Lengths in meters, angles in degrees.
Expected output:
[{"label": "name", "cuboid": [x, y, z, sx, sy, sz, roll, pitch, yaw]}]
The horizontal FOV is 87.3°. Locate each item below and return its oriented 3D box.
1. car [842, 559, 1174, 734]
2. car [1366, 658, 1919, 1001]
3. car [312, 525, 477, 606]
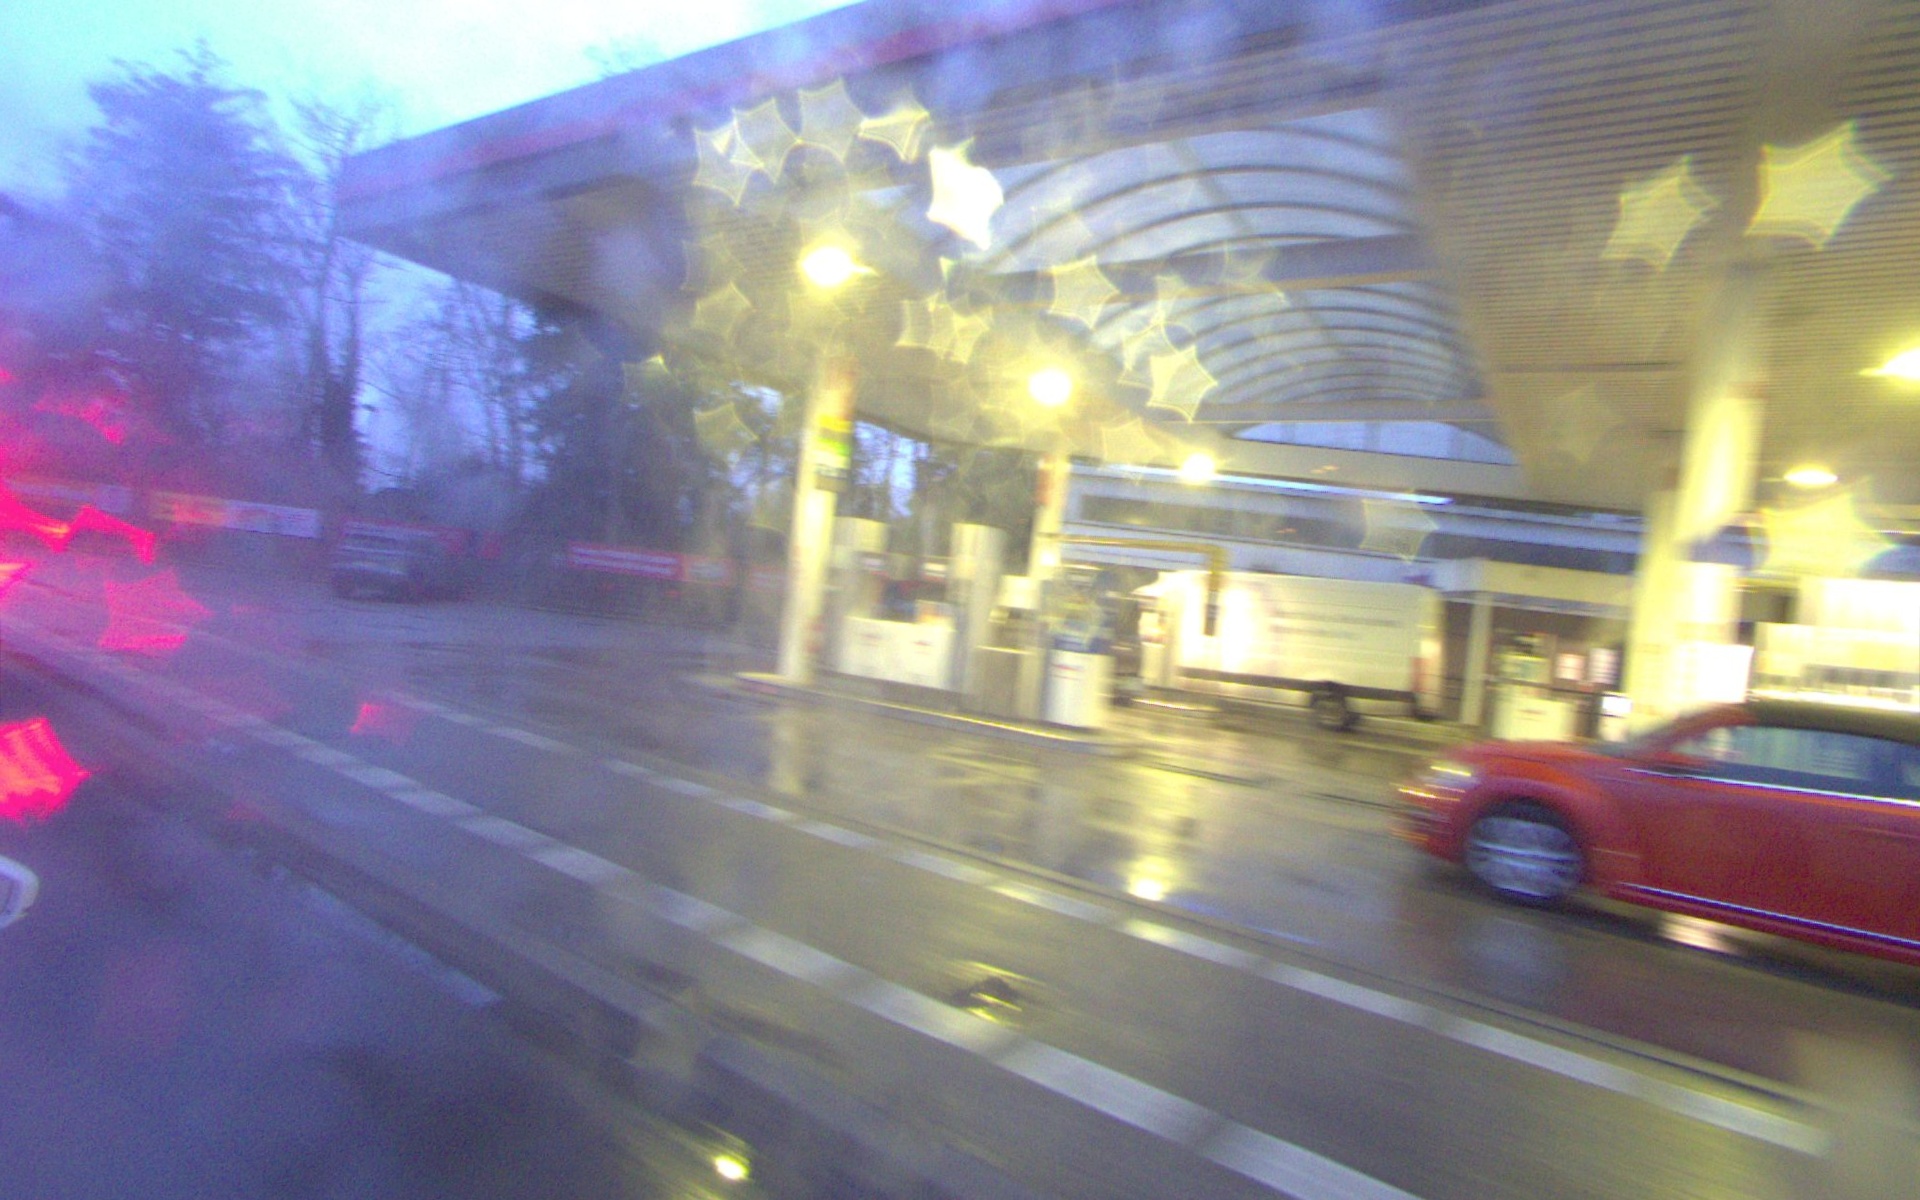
[{"label": "car", "cuboid": [0.618, 0.580, 14.440, 4.231, 1.883, 1.993, 6, 1, 35]}, {"label": "car", "cuboid": [4.880, 1.321, 6.132, 4.103, 1.414, 1.572, 7, 1, 35]}, {"label": "car", "cuboid": [-14.010, -0.800, 25.265, 1.985, 1.628, 4.476, 6, 0, -8]}]
